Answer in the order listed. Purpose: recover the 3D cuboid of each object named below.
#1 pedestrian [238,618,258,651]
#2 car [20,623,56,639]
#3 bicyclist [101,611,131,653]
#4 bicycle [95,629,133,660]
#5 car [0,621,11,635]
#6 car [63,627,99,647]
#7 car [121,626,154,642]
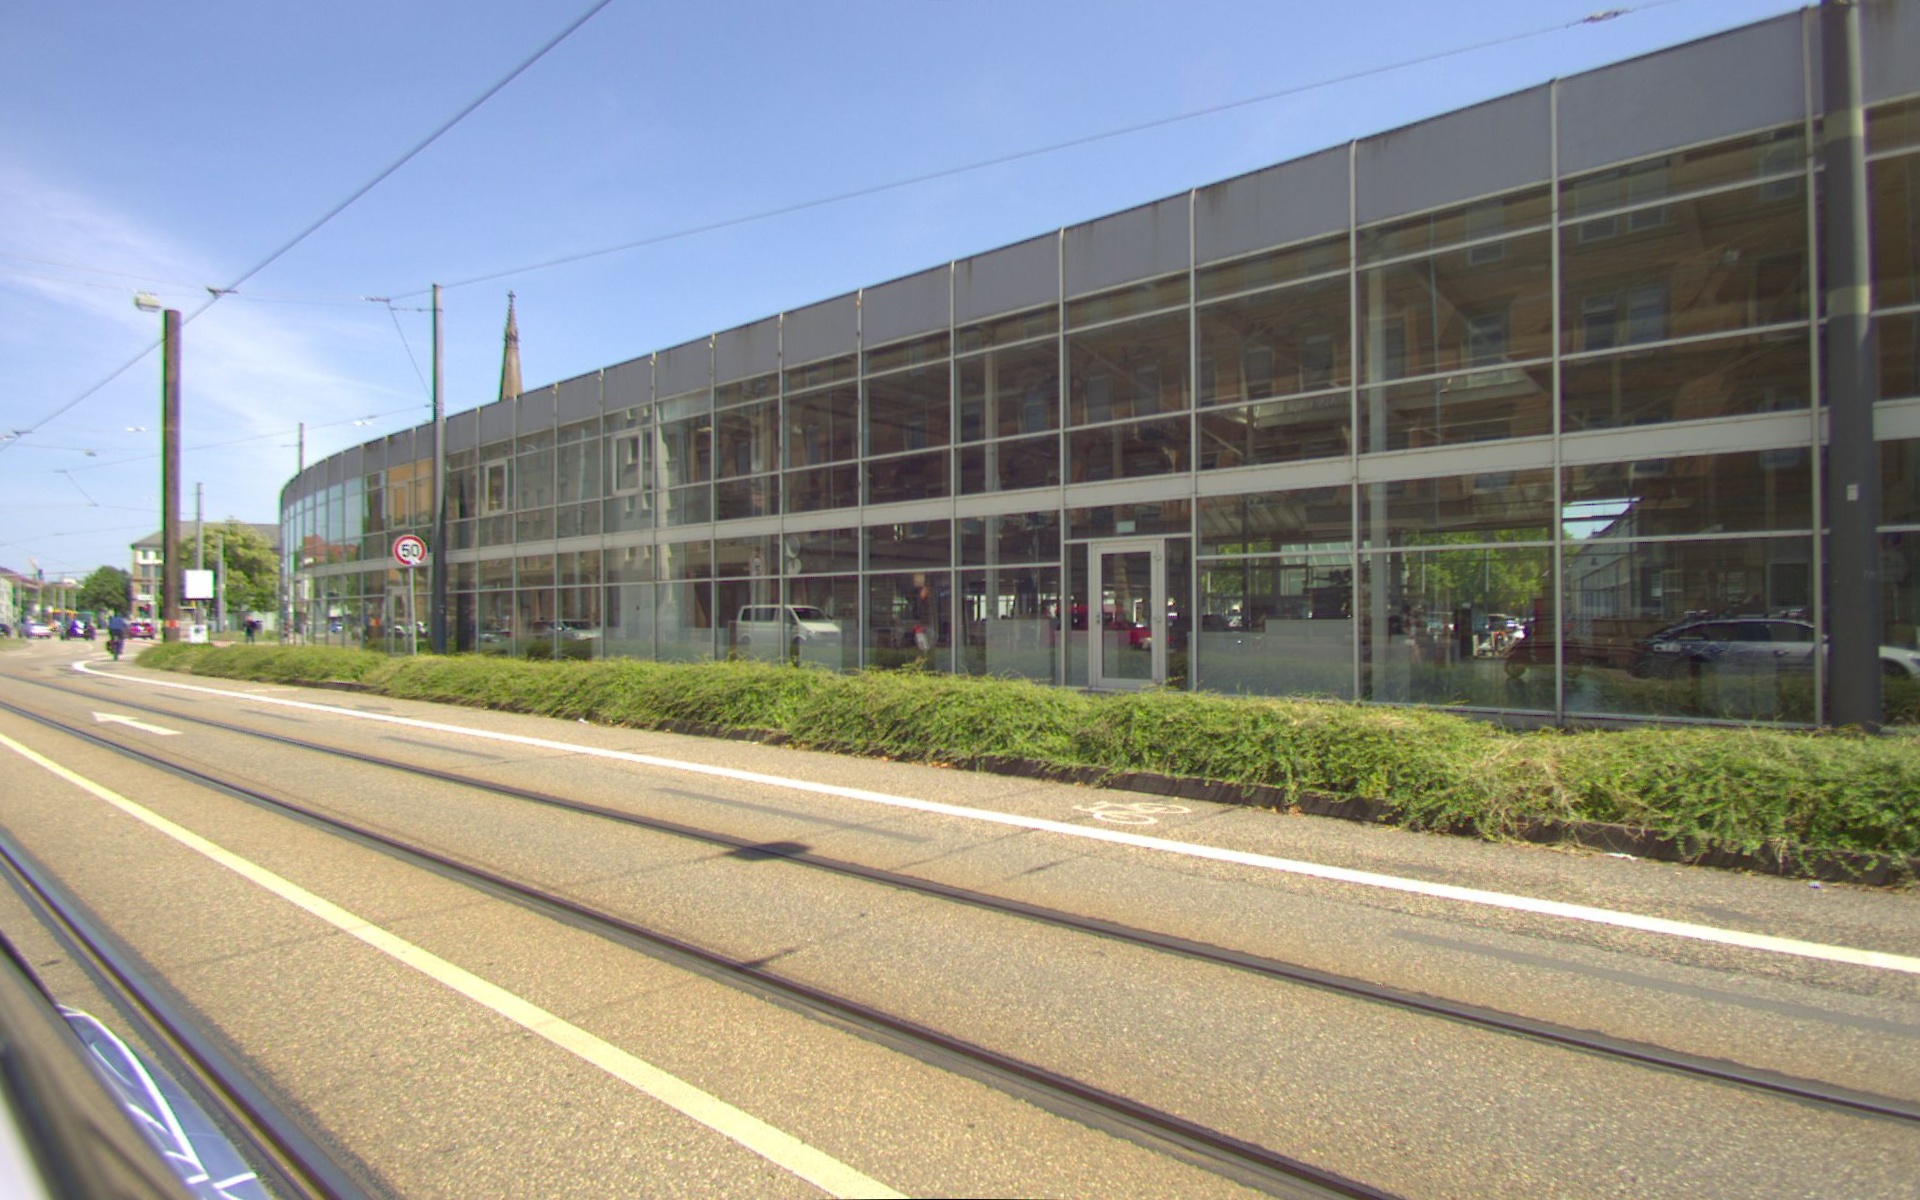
[{"bbox_3d":[-36.651,1.774,52.091,0.820,1.654,0.719,-2,-2,44],"label":"pedestrian"},{"bbox_3d":[-88.944,2.980,97.610,5.128,1.542,1.973,-1,-3,41],"label":"car"},{"bbox_3d":[-32.271,1.211,38.699,0.979,1.560,0.691,-1,-2,40],"label":"bicyclist"},{"bbox_3d":[-32.472,1.701,38.824,2.494,1.153,0.691,-1,-2,41],"label":"bicycle"},{"bbox_3d":[-98.566,2.885,103.545,3.901,1.473,1.653,-1,-2,41],"label":"car"},{"bbox_3d":[-73.017,3.076,84.071,4.526,1.639,1.801,-2,-3,44],"label":"car"},{"bbox_3d":[-74.526,3.100,91.665,4.287,1.377,1.739,-1,-1,42],"label":"car"}]
